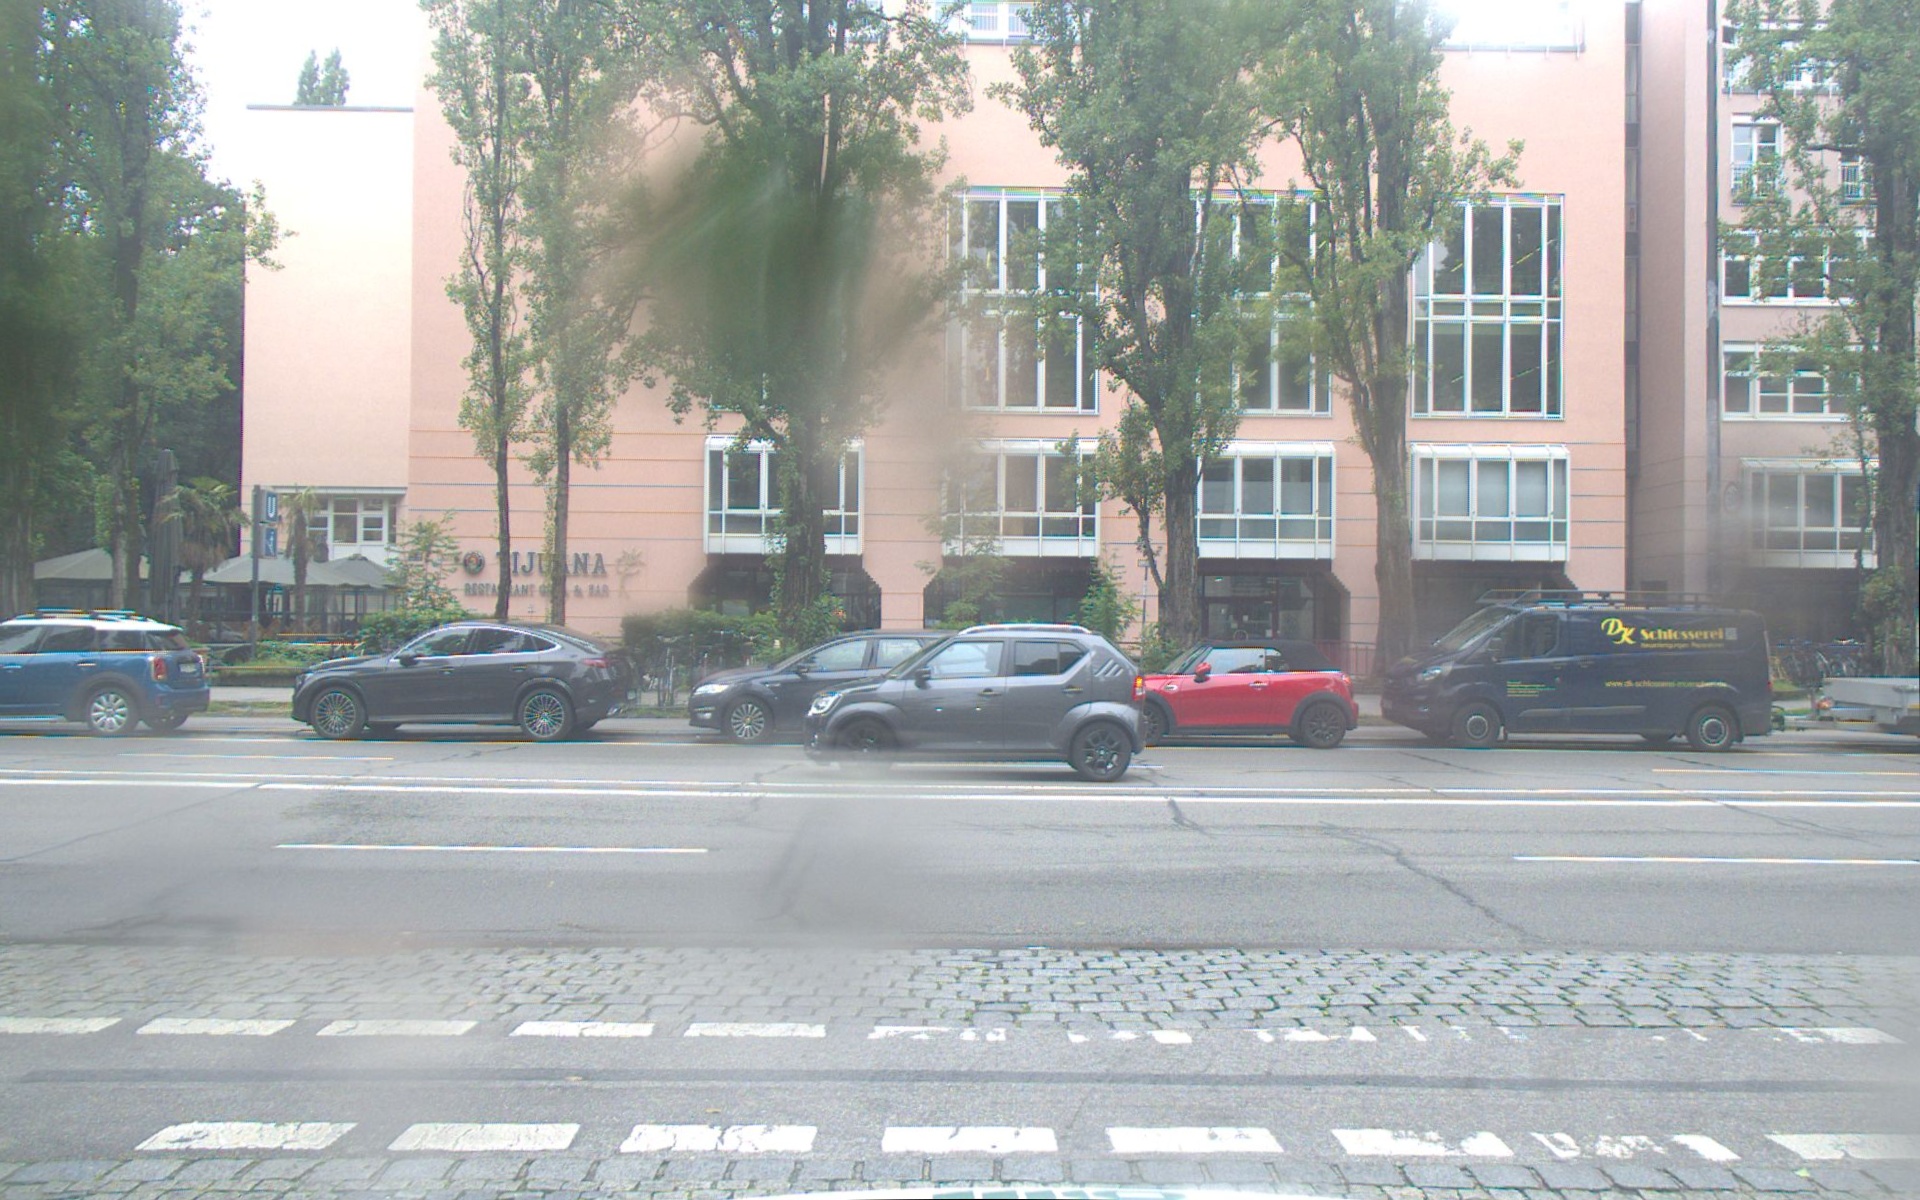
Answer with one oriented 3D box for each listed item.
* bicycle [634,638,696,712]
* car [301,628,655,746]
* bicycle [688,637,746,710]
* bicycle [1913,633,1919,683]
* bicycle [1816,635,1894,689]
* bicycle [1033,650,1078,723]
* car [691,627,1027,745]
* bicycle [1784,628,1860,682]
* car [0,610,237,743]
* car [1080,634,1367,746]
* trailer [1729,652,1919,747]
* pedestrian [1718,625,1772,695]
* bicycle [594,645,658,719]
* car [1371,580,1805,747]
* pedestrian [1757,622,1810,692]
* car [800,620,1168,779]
[{"bbox_3d":[-4.860,1.218,27.389,0.660,1.144,1.989,0,-1,0],"label":"bicycle"},{"bbox_3d":[-6.634,1.181,23.108,4.408,1.556,1.793,0,-1,-1],"label":"car"},{"bbox_3d":[-4.023,1.195,27.497,0.660,1.144,1.989,0,-1,0],"label":"bicycle"},{"bbox_3d":[22.393,1.336,37.242,0.660,1.144,2.107,0,-1,0],"label":"bicycle"},{"bbox_3d":[19.954,1.368,36.906,0.660,1.144,1.989,0,-1,0],"label":"bicycle"},{"bbox_3d":[1.570,1.416,27.460,0.660,1.144,1.742,0,-1,0],"label":"bicycle"},{"bbox_3d":[-1.359,1.175,23.174,4.514,1.556,1.793,0,-1,-1],"label":"car"},{"bbox_3d":[19.189,1.210,36.880,0.660,1.144,1.989,0,-1,0],"label":"bicycle"},{"bbox_3d":[-12.439,1.048,22.957,3.983,1.762,1.792,0,-2,-2],"label":"car"},{"bbox_3d":[3.590,1.223,23.029,3.780,1.474,1.678,0,-1,2],"label":"car"},{"bbox_3d":[14.397,1.380,23.433,5.895,1.220,2.404,0,-1,0],"label":"trailer"},{"bbox_3d":[15.945,1.207,33.592,0.699,1.393,0.724,1,-1,-30],"label":"pedestrian"},{"bbox_3d":[-5.502,1.328,27.350,0.660,1.144,1.989,0,-1,0],"label":"bicycle"},{"bbox_3d":[8.739,0.873,23.358,5.367,2.236,2.023,0,-1,-1],"label":"car"},{"bbox_3d":[16.696,1.150,33.539,0.714,1.393,0.709,0,-1,0],"label":"pedestrian"},{"bbox_3d":[0.243,1.020,17.440,3.663,1.554,1.849,0,-2,0],"label":"car"}]
